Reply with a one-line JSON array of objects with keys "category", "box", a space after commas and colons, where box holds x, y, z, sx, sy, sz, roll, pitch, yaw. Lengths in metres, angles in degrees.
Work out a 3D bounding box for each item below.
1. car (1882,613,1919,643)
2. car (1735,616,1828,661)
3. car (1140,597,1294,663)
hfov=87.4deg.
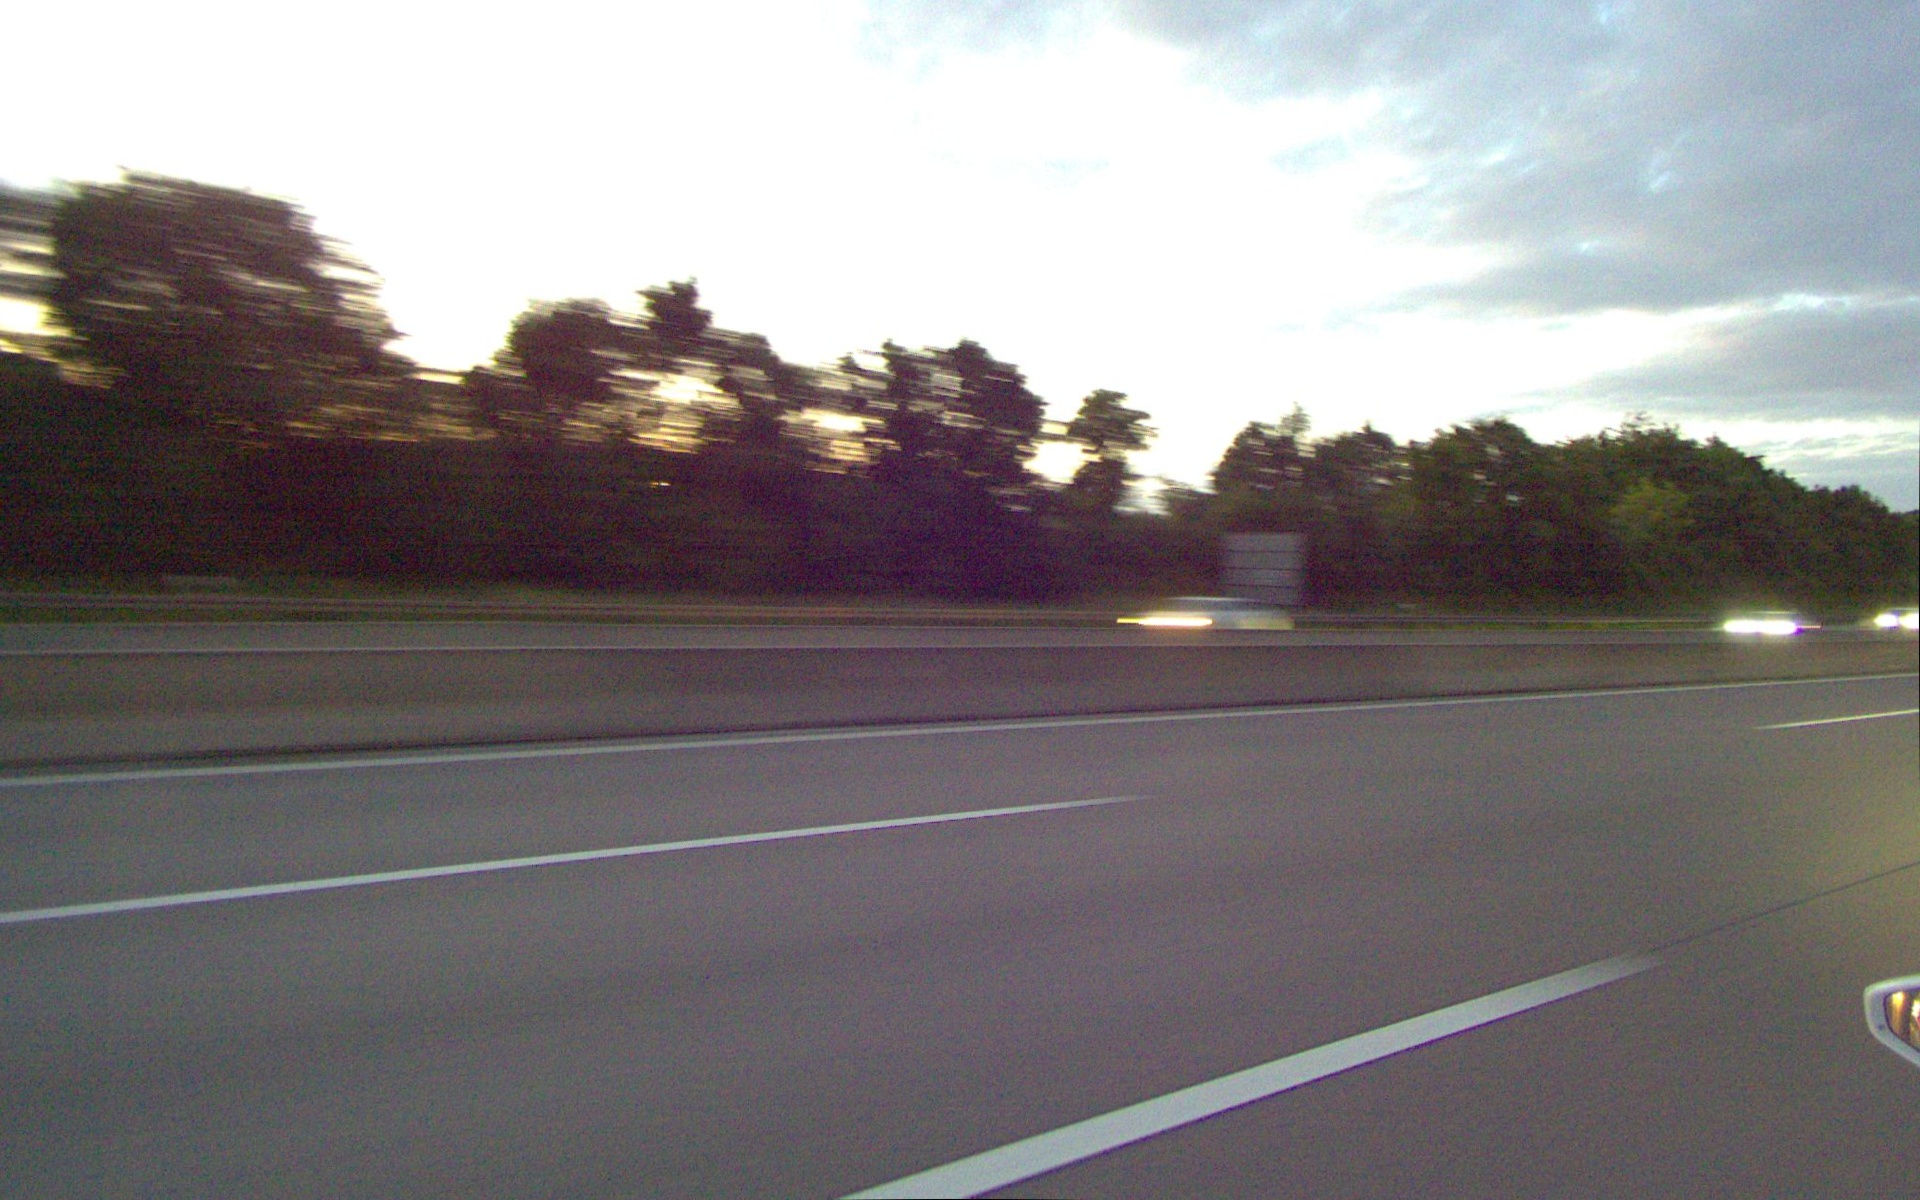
[{"category": "car", "box": [64.836, 1.938, 68.357, 4.630, 1.918, 1.981, 3, 0, -34]}, {"category": "car", "box": [39.041, 1.842, 47.724, 5.002, 1.918, 1.865, 3, 0, -32]}, {"category": "car", "box": [8.504, 1.005, 33.105, 5.002, 1.918, 1.983, 3, 0, -32]}]
